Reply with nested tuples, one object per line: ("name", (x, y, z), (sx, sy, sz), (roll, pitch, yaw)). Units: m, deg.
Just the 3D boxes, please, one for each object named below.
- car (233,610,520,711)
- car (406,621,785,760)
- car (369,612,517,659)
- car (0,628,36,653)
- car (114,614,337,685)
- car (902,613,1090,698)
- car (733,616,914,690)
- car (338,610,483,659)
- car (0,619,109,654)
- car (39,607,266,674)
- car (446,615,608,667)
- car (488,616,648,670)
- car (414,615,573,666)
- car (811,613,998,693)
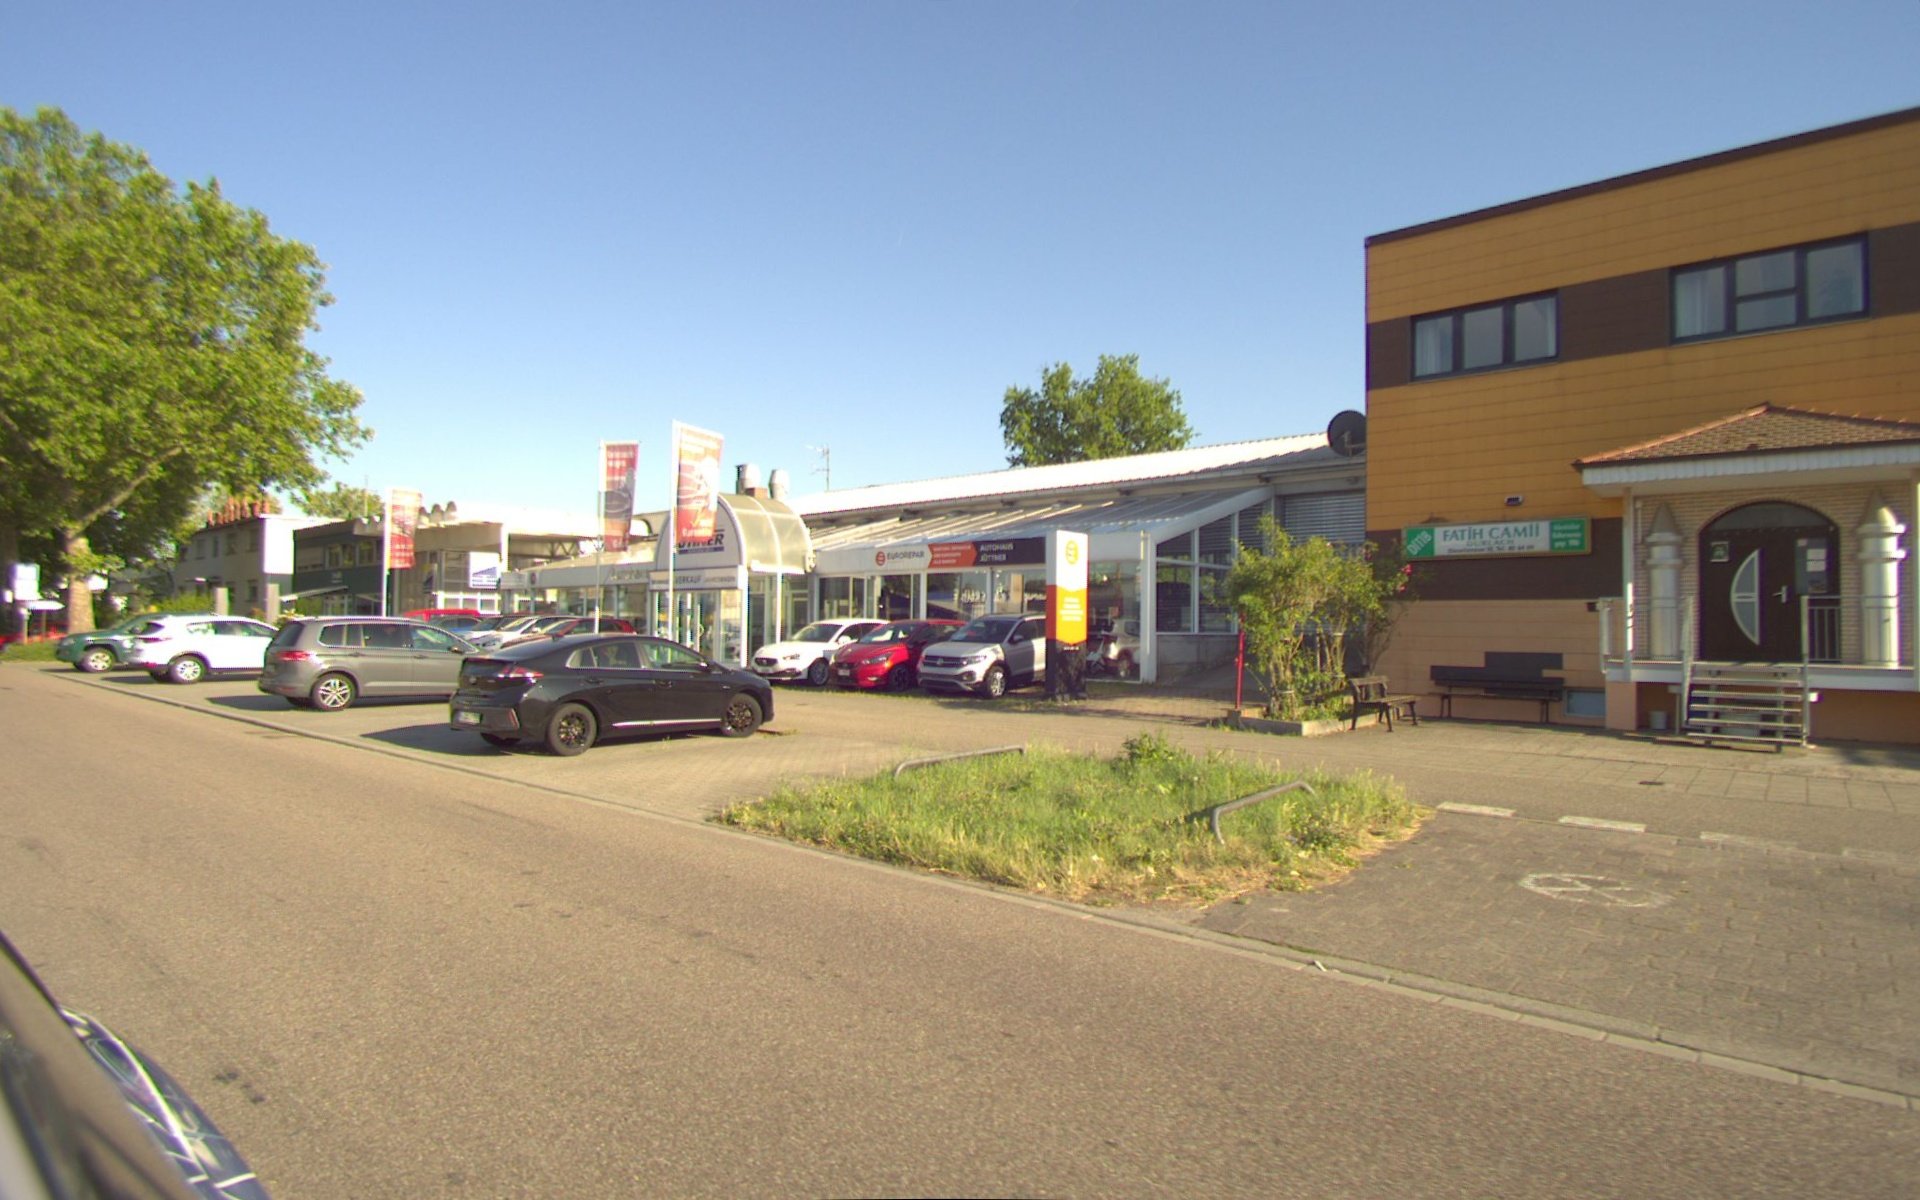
("car", (-10.884, 1.026, 19.117), (2.199, 1.668, 4.191), (0, -1, 38))
("car", (-4.671, 1.043, 13.505), (2.199, 1.471, 4.272), (0, -1, 38))
("car", (-19.680, 1.298, 38.683), (1.998, 1.646, 4.667), (-1, -1, 39))
("car", (-56.814, 2.336, 58.663), (1.998, 1.433, 4.553), (-2, -3, 40))
("car", (-18.920, 1.199, 26.222), (2.199, 1.668, 4.262), (0, -1, 38))
("car", (0.814, 1.055, 20.791), (1.887, 1.567, 3.870), (-1, -1, 40))
("car", (-3.155, 1.183, 23.980), (1.999, 1.567, 3.946), (-1, -1, 40))
("car", (-21.857, 1.326, 40.436), (1.998, 1.833, 4.699), (-1, -1, 39))
("car", (-41.468, 1.644, 45.786), (1.999, 1.457, 4.253), (0, 0, 40))
("car", (-25.032, 1.192, 31.559), (2.200, 1.913, 5.206), (0, -1, 40))
("car", (-14.314, 1.309, 33.697), (1.926, 1.604, 4.615), (-1, -1, 39))
("car", (-12.297, 1.288, 31.991), (1.834, 1.565, 4.420), (-1, -1, 39))
("car", (-16.211, 1.342, 35.349), (1.998, 1.655, 4.672), (-1, -1, 39))
("car", (-1.146, 1.085, 22.341), (1.999, 1.567, 3.946), (-1, -1, 40))
